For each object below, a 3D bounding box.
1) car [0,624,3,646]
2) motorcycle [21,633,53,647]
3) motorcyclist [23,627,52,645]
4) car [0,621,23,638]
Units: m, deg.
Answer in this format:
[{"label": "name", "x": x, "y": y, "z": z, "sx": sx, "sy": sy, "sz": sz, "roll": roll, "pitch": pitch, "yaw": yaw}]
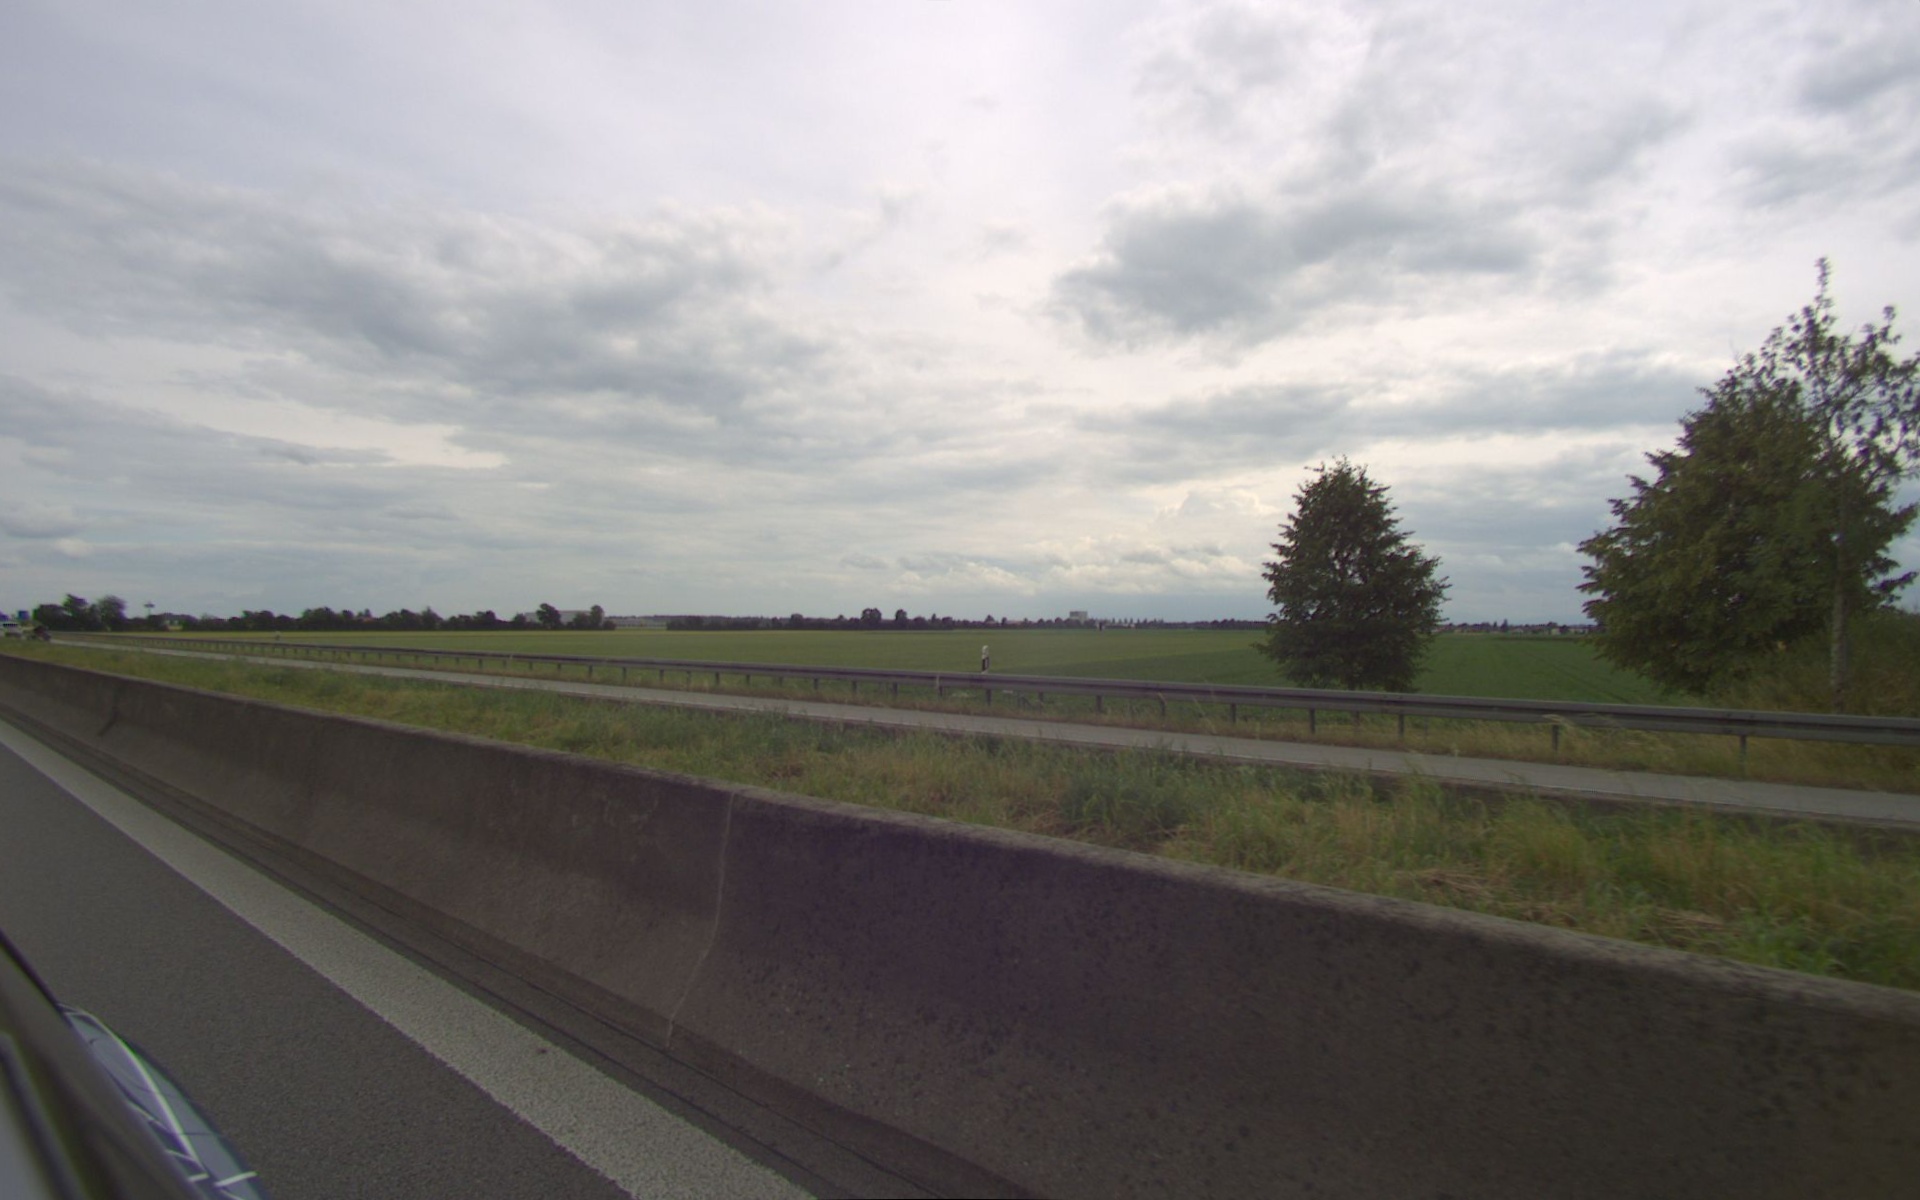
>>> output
[{"label": "car", "x": -72.270, "y": 2.558, "z": 74.708, "sx": 4.691, "sy": 1.586, "sz": 1.846, "roll": -1, "pitch": -3, "yaw": 41}, {"label": "motorcycle", "x": -73.205, "y": 3.161, "z": 80.258, "sx": 2.981, "sy": 1.086, "sz": 1.550, "roll": -1, "pitch": -3, "yaw": 42}, {"label": "motorcyclist", "x": -73.186, "y": 2.837, "z": 80.261, "sx": 1.252, "sy": 1.382, "sz": 1.550, "roll": -1, "pitch": -3, "yaw": 41}, {"label": "car", "x": -93.371, "y": 2.872, "z": 99.134, "sx": 4.689, "sy": 1.639, "sz": 1.816, "roll": -1, "pitch": -3, "yaw": 42}]
